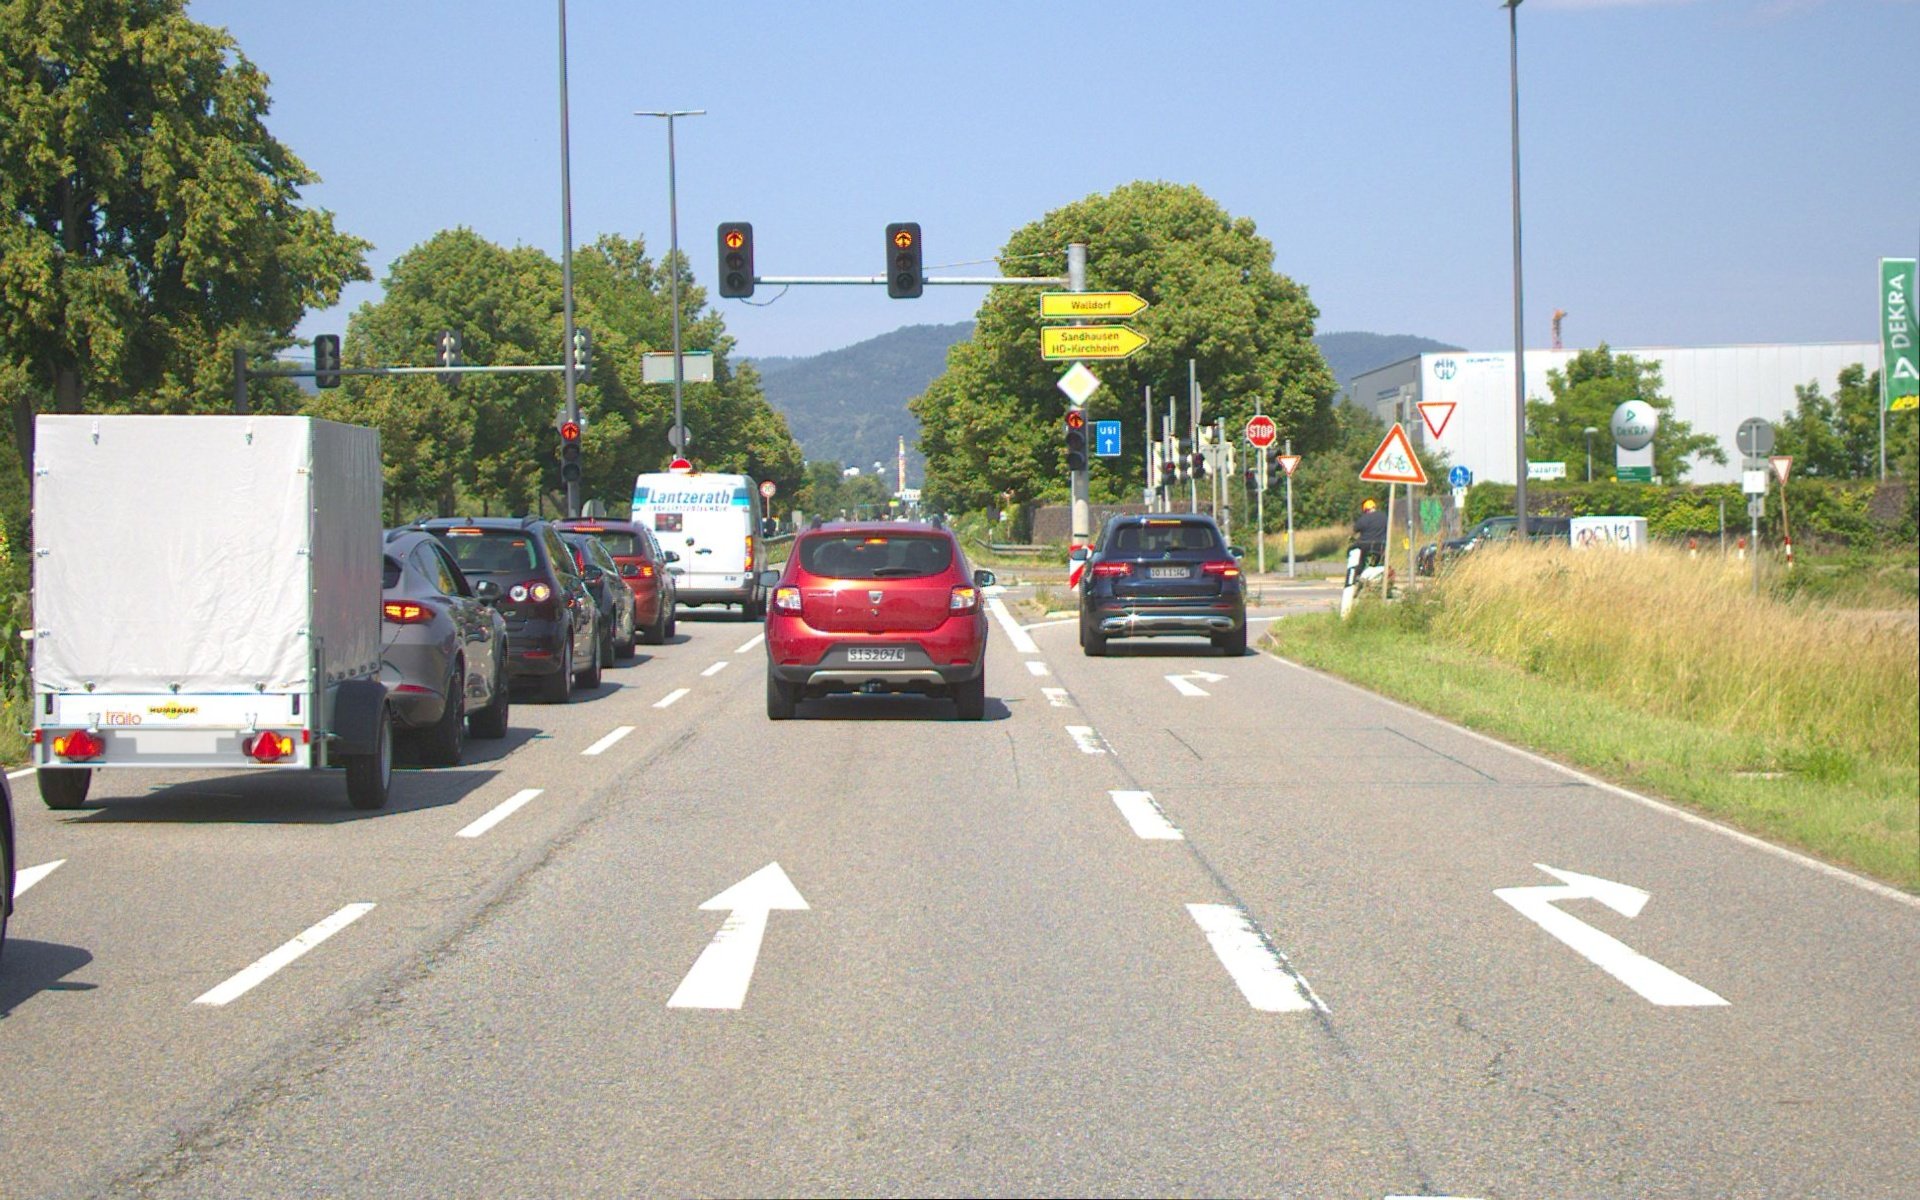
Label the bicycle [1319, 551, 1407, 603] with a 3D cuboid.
[{"bbox_3d":[7.550,-0.444,64.574,0.761,0.911,2.780,-1,1,-12],"label":"bicycle"}]

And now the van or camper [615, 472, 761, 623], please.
[{"bbox_3d":[-4.281,-0.846,54.751,2.179,2.295,4.827,0,1,-3],"label":"van or camper"}]

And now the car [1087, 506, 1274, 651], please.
[{"bbox_3d":[2.537,-0.297,40.485,1.993,1.611,4.339,0,1,1],"label":"car"}]

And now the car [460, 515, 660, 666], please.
[{"bbox_3d":[-4.311,-0.146,37.551,1.702,1.437,3.956,1,3,0],"label":"car"}]

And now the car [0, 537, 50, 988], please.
[{"bbox_3d":[-3.958,0.561,9.783,1.717,1.460,4.030,0,1,-1],"label":"car"}]

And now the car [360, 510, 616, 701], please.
[{"bbox_3d":[-4.096,0.003,30.370,1.723,1.570,3.893,0,1,0],"label":"car"}]

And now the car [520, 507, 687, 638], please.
[{"bbox_3d":[-4.546,-0.390,44.291,1.724,1.594,3.956,0,1,0],"label":"car"}]

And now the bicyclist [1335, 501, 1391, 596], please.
[{"bbox_3d":[7.551,-0.972,64.424,0.802,1.765,0.809,-2,2,-12],"label":"bicyclist"}]

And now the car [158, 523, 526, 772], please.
[{"bbox_3d":[-4.032,0.239,23.093,1.745,1.498,4.363,0,1,-1],"label":"car"}]

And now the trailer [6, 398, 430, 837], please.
[{"bbox_3d":[-3.976,0.038,19.028,1.500,2.166,4.175,0,1,-1],"label":"trailer"}]

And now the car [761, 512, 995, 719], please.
[{"bbox_3d":[-0.606,0.072,28.010,1.749,1.570,3.676,0,1,1],"label":"car"}]

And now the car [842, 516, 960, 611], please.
[{"bbox_3d":[-0.918,-0.603,55.023,1.749,1.453,3.676,0,2,1],"label":"car"}]

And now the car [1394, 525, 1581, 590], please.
[{"bbox_3d":[11.599,-0.940,75.732,3.988,1.322,1.806,-1,1,7],"label":"car"}]
